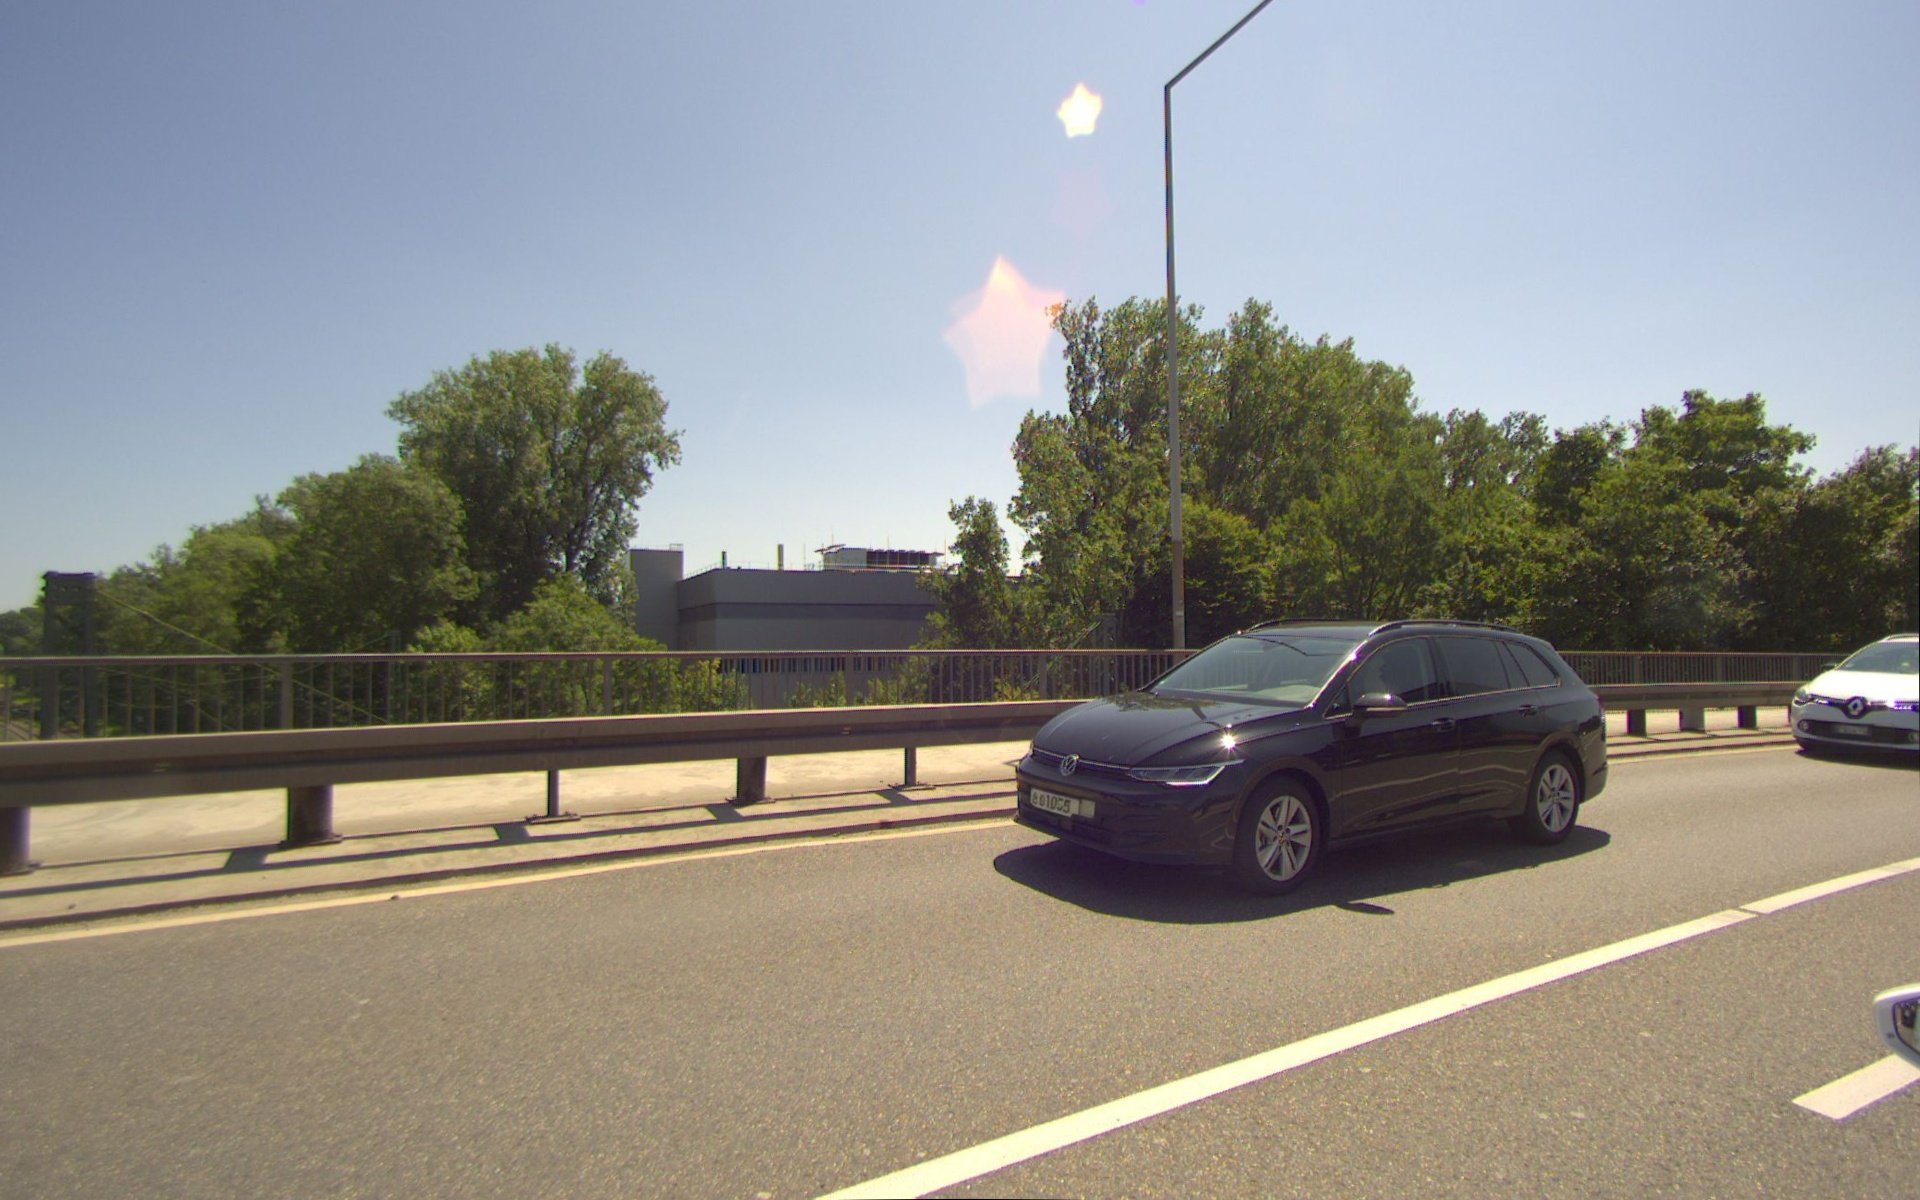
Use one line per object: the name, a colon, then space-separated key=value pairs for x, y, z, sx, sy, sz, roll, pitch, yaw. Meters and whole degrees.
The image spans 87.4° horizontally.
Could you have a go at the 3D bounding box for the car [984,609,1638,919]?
car: x=2.474 y=0.845 z=6.706 sx=4.408 sy=1.488 sz=1.702 roll=1 pitch=-1 yaw=-31

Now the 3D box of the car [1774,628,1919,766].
car: x=11.970 y=1.117 z=12.236 sx=4.000 sy=1.468 sz=1.595 roll=2 pitch=-1 yaw=-25
